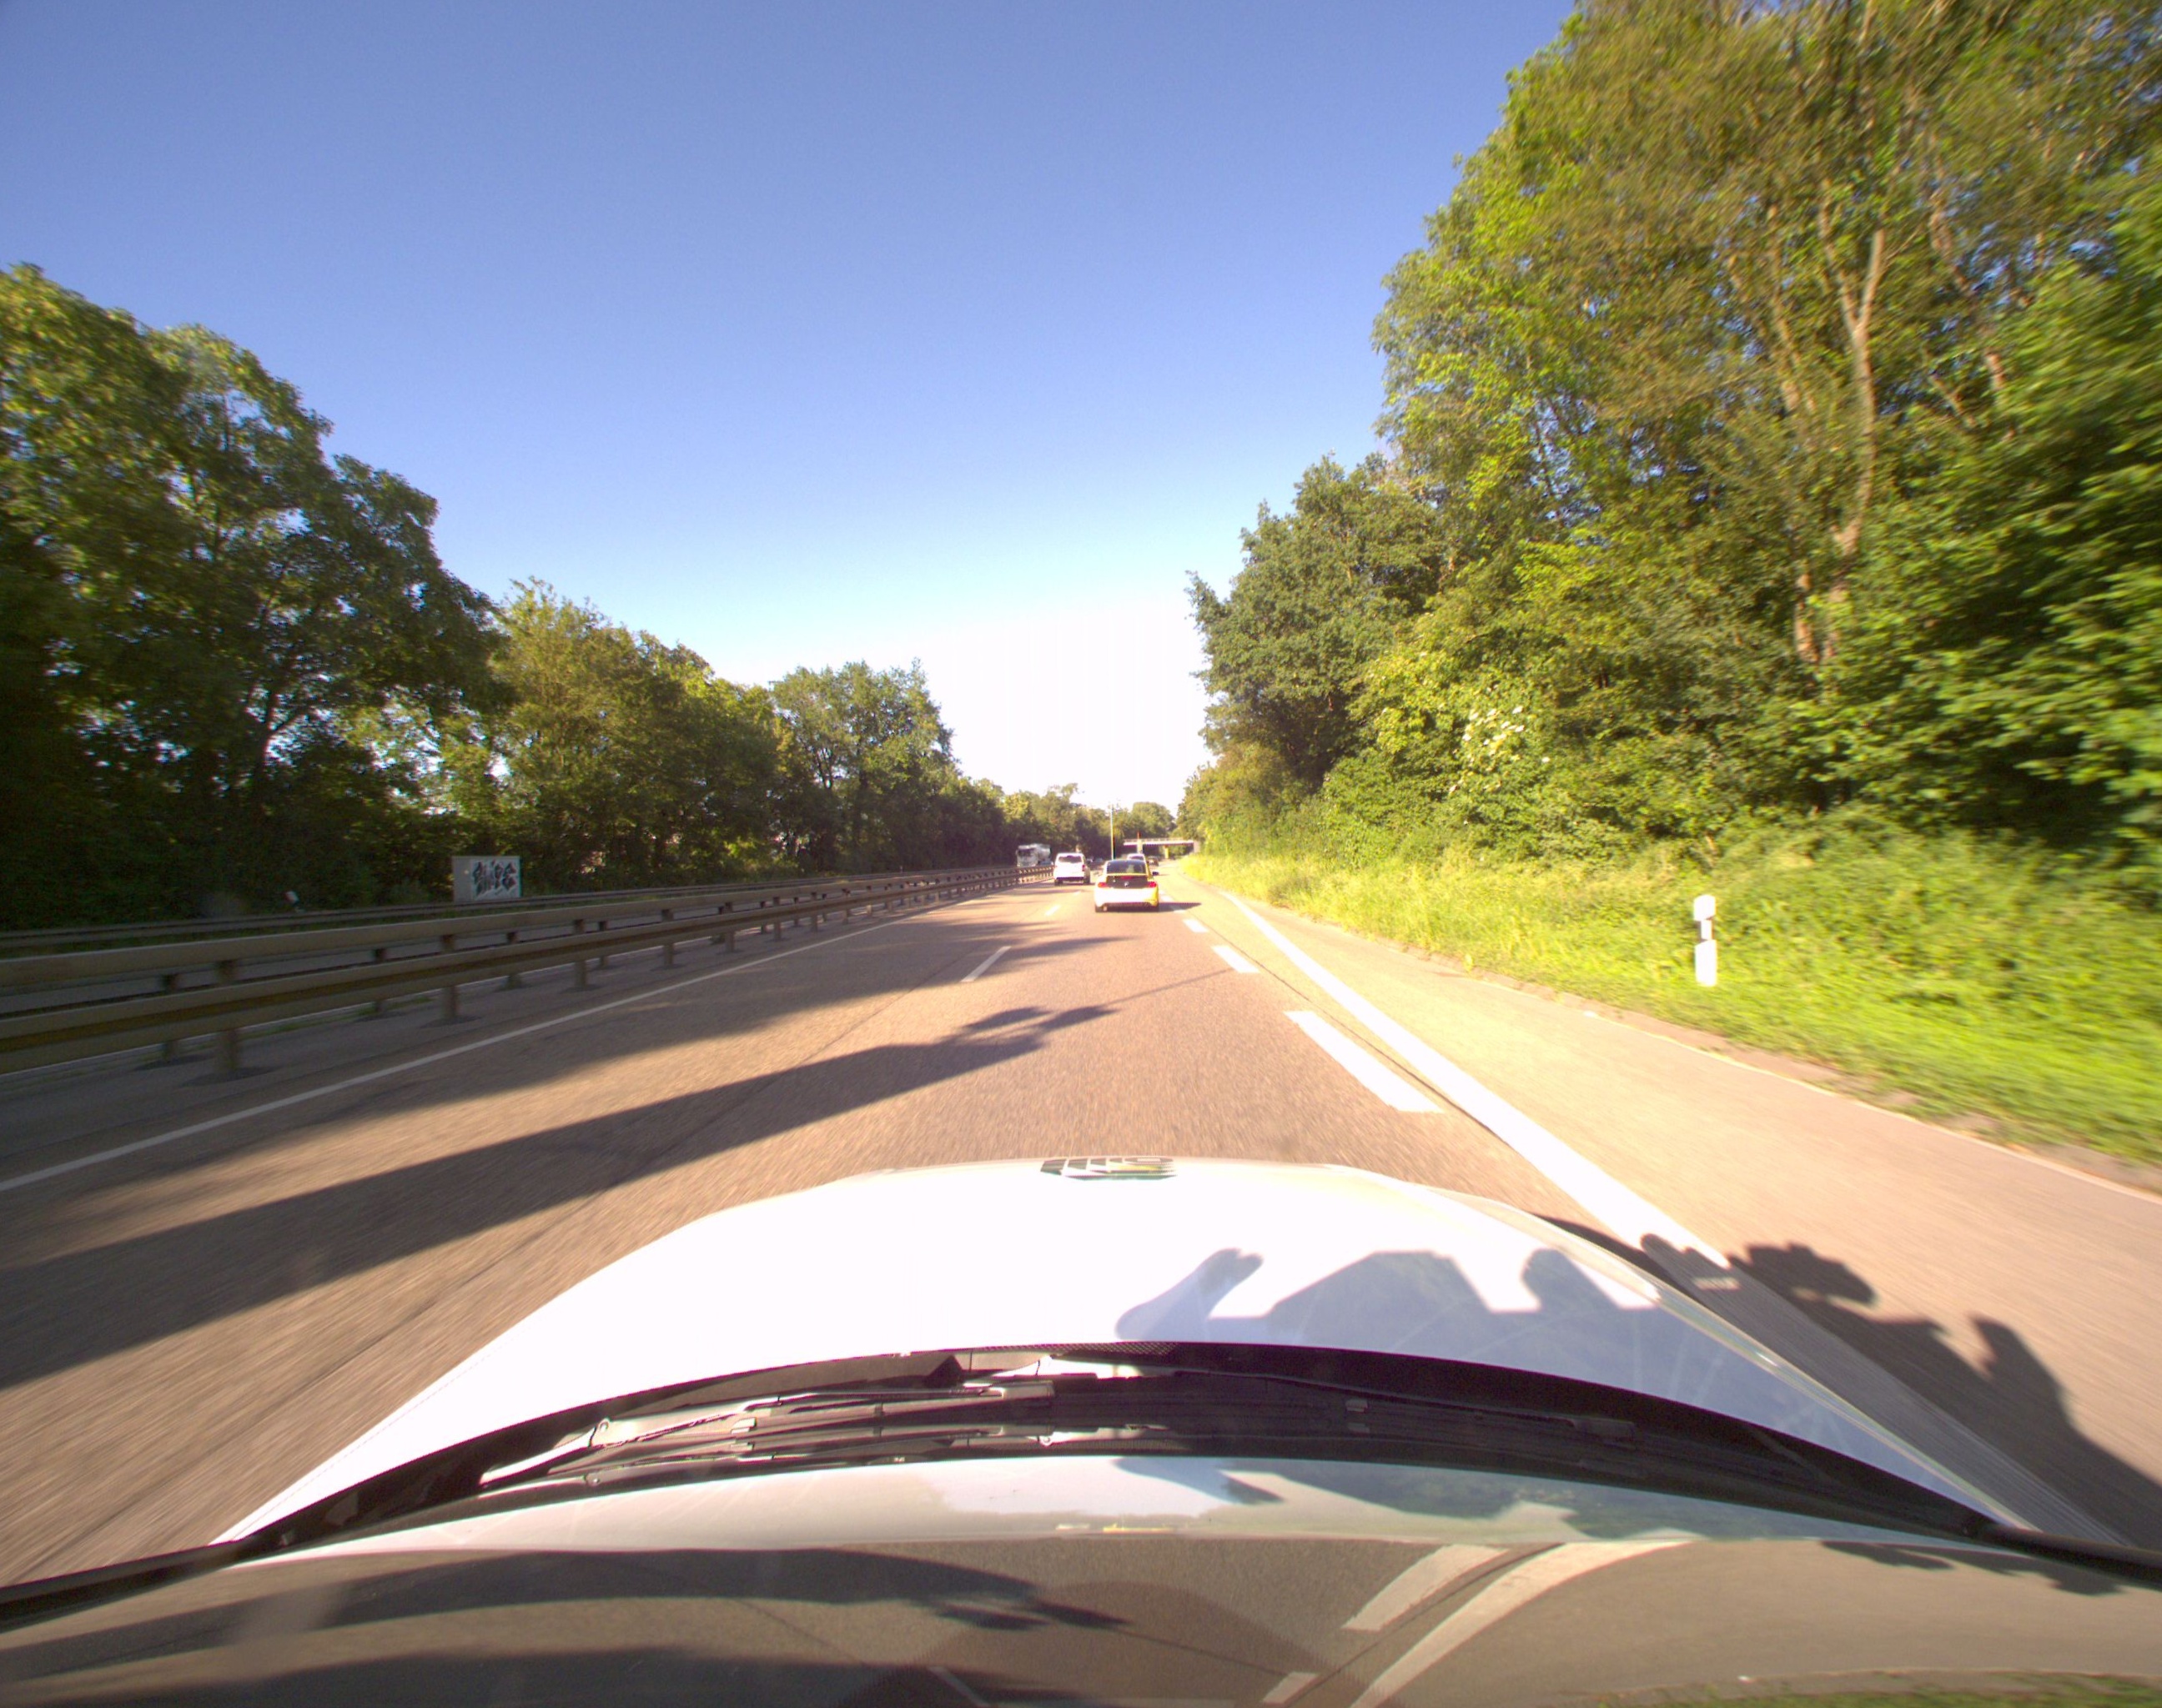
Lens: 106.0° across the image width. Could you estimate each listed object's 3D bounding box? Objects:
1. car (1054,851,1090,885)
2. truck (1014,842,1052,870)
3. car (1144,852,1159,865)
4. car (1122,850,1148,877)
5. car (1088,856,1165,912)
[{"bbox_3d":[-0.443,0.776,45.728,1.734,1.830,3.426,0,0,4],"label":"car"},{"bbox_3d":[-6.620,0.267,114.170,2.872,3.521,11.976,-3,0,7],"label":"truck"},{"bbox_3d":[11.272,0.692,130.568,2.253,1.875,5.082,-3,0,4],"label":"car"},{"bbox_3d":[4.454,0.750,66.966,1.984,2.013,4.005,-3,0,4],"label":"car"},{"bbox_3d":[1.237,0.814,23.621,1.934,1.508,3.419,-1,0,-2],"label":"car"}]
